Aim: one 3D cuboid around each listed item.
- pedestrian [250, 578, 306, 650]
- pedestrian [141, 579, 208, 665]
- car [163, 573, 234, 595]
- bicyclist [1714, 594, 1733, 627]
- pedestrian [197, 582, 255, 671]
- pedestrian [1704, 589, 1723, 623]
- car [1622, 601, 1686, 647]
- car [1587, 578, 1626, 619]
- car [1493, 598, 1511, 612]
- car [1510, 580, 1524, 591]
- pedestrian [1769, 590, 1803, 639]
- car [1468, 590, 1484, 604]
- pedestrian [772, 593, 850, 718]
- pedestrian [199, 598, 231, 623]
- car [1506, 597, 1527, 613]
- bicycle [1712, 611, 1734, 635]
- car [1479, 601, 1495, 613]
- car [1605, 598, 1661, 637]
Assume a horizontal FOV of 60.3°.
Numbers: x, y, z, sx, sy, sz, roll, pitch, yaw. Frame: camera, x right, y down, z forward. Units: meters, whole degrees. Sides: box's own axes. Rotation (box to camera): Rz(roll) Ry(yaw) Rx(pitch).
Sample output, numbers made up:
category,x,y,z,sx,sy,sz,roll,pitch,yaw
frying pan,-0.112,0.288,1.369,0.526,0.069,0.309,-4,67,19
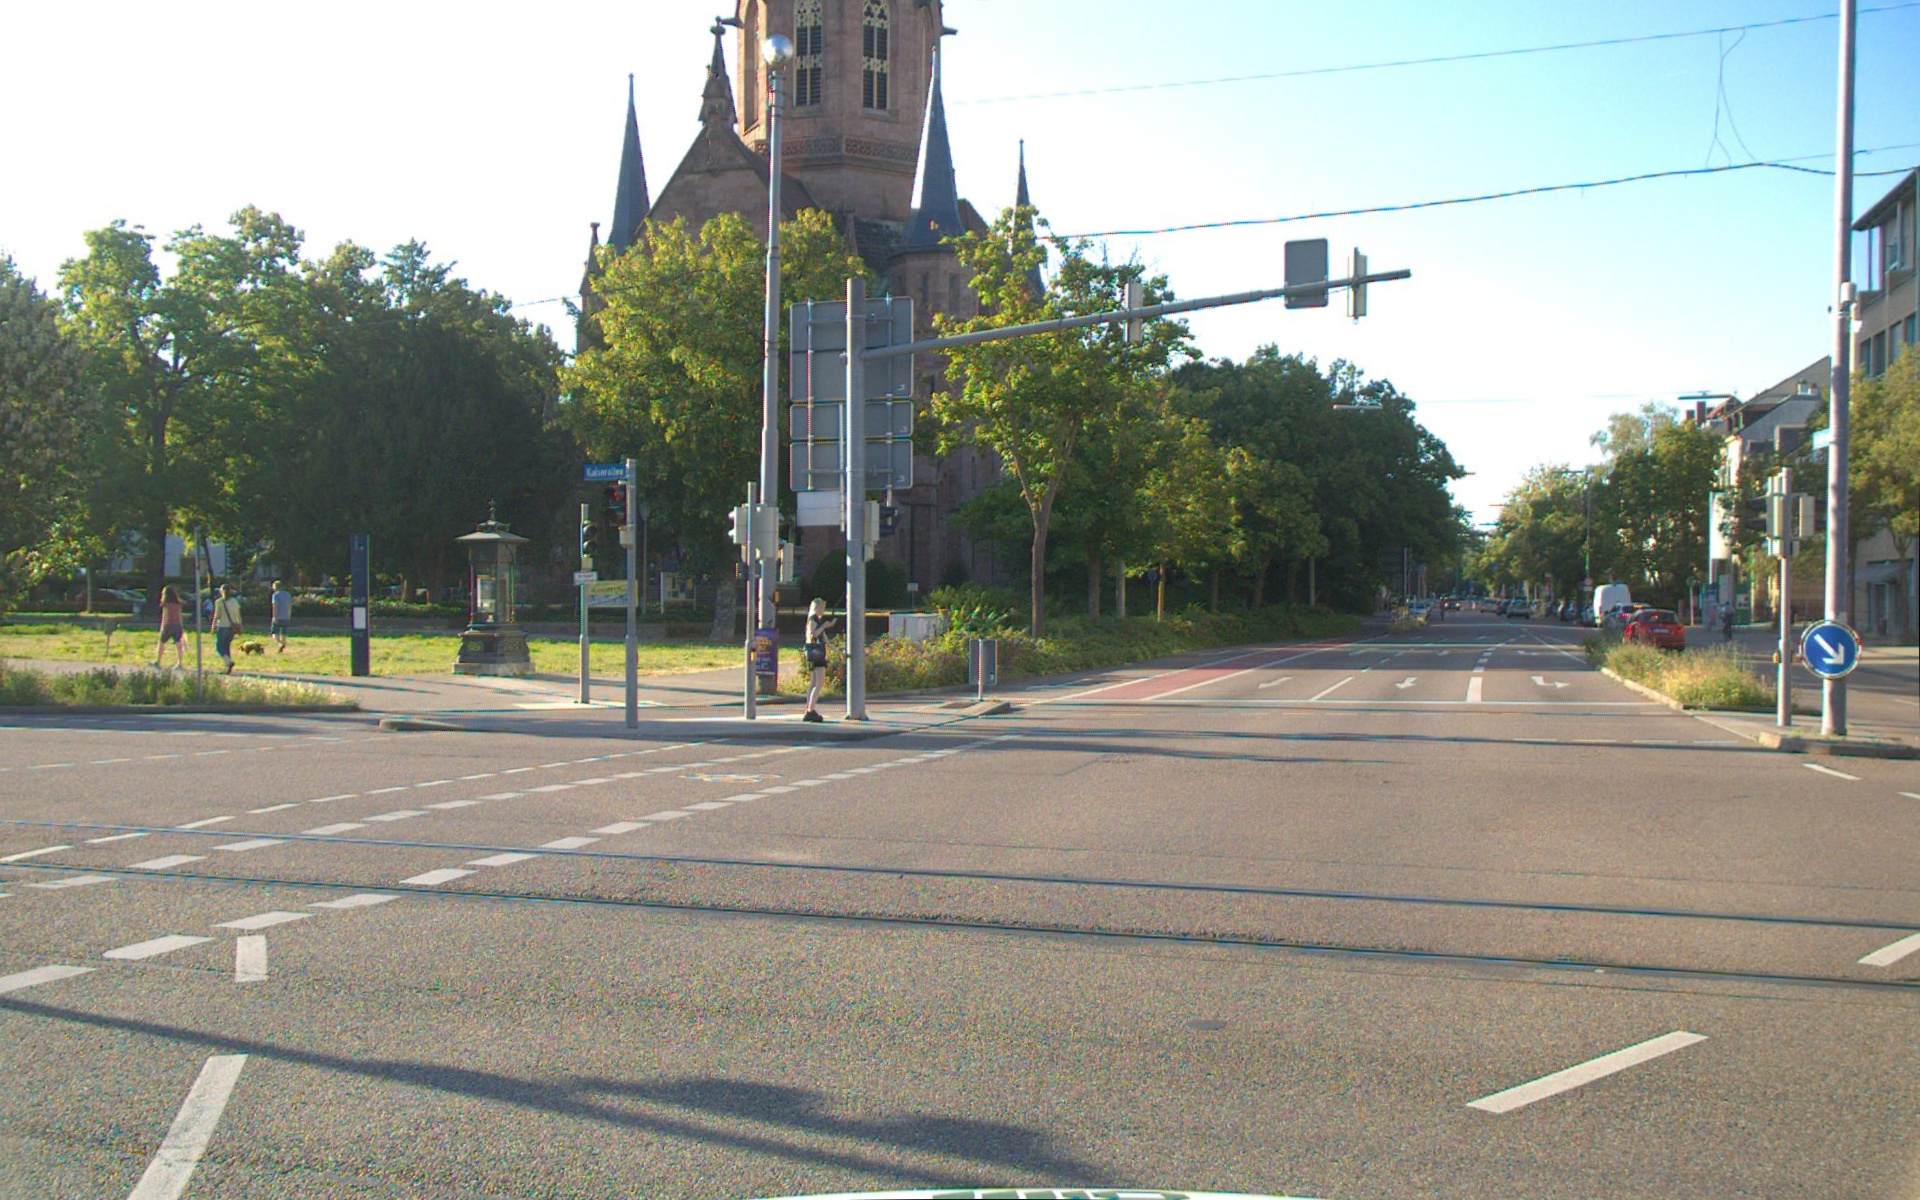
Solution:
category,x,y,z,sx,sy,sz,roll,pitch,yaw
pedestrian,-16.977,0.340,41.189,0.992,1.726,0.845,2,0,4
pedestrian,-16.152,0.438,34.013,0.996,1.726,0.842,2,0,35
car,-56.576,-1.219,122.883,4.355,1.599,2.001,0,0,6
bicyclist,33.307,0.456,72.138,0.579,1.392,0.930,2,1,17
pedestrian,-14.663,0.514,33.032,0.878,1.726,0.707,2,0,38
pedestrian,40.603,0.312,89.167,0.830,1.835,0.776,0,0,17
car,24.243,0.793,57.881,1.635,1.488,4.002,2,1,17
car,40.632,-0.095,104.052,1.952,2.483,4.002,2,1,17
car,50.955,0.435,155.400,1.561,1.289,3.268,0,1,17
car,70.911,-1.851,210.547,1.561,1.289,3.268,0,1,17
pedestrian,34.933,0.604,69.984,1.084,2.010,1.162,0,0,17
car,64.987,-0.367,208.209,1.847,1.700,4.002,2,1,17
pedestrian,-2.155,0.789,24.044,0.792,1.769,0.968,0,0,18
pedestrian,-30.329,0.422,67.364,0.786,0.970,1.173,1,1,-4
car,46.610,0.426,138.533,1.561,1.289,3.268,0,1,17
bicycle,33.298,0.997,72.163,0.579,0.959,1.979,2,1,17
car,55.433,0.725,173.856,1.561,1.289,3.268,0,1,17
car,29.905,0.749,73.605,1.876,1.635,4.272,2,1,17
